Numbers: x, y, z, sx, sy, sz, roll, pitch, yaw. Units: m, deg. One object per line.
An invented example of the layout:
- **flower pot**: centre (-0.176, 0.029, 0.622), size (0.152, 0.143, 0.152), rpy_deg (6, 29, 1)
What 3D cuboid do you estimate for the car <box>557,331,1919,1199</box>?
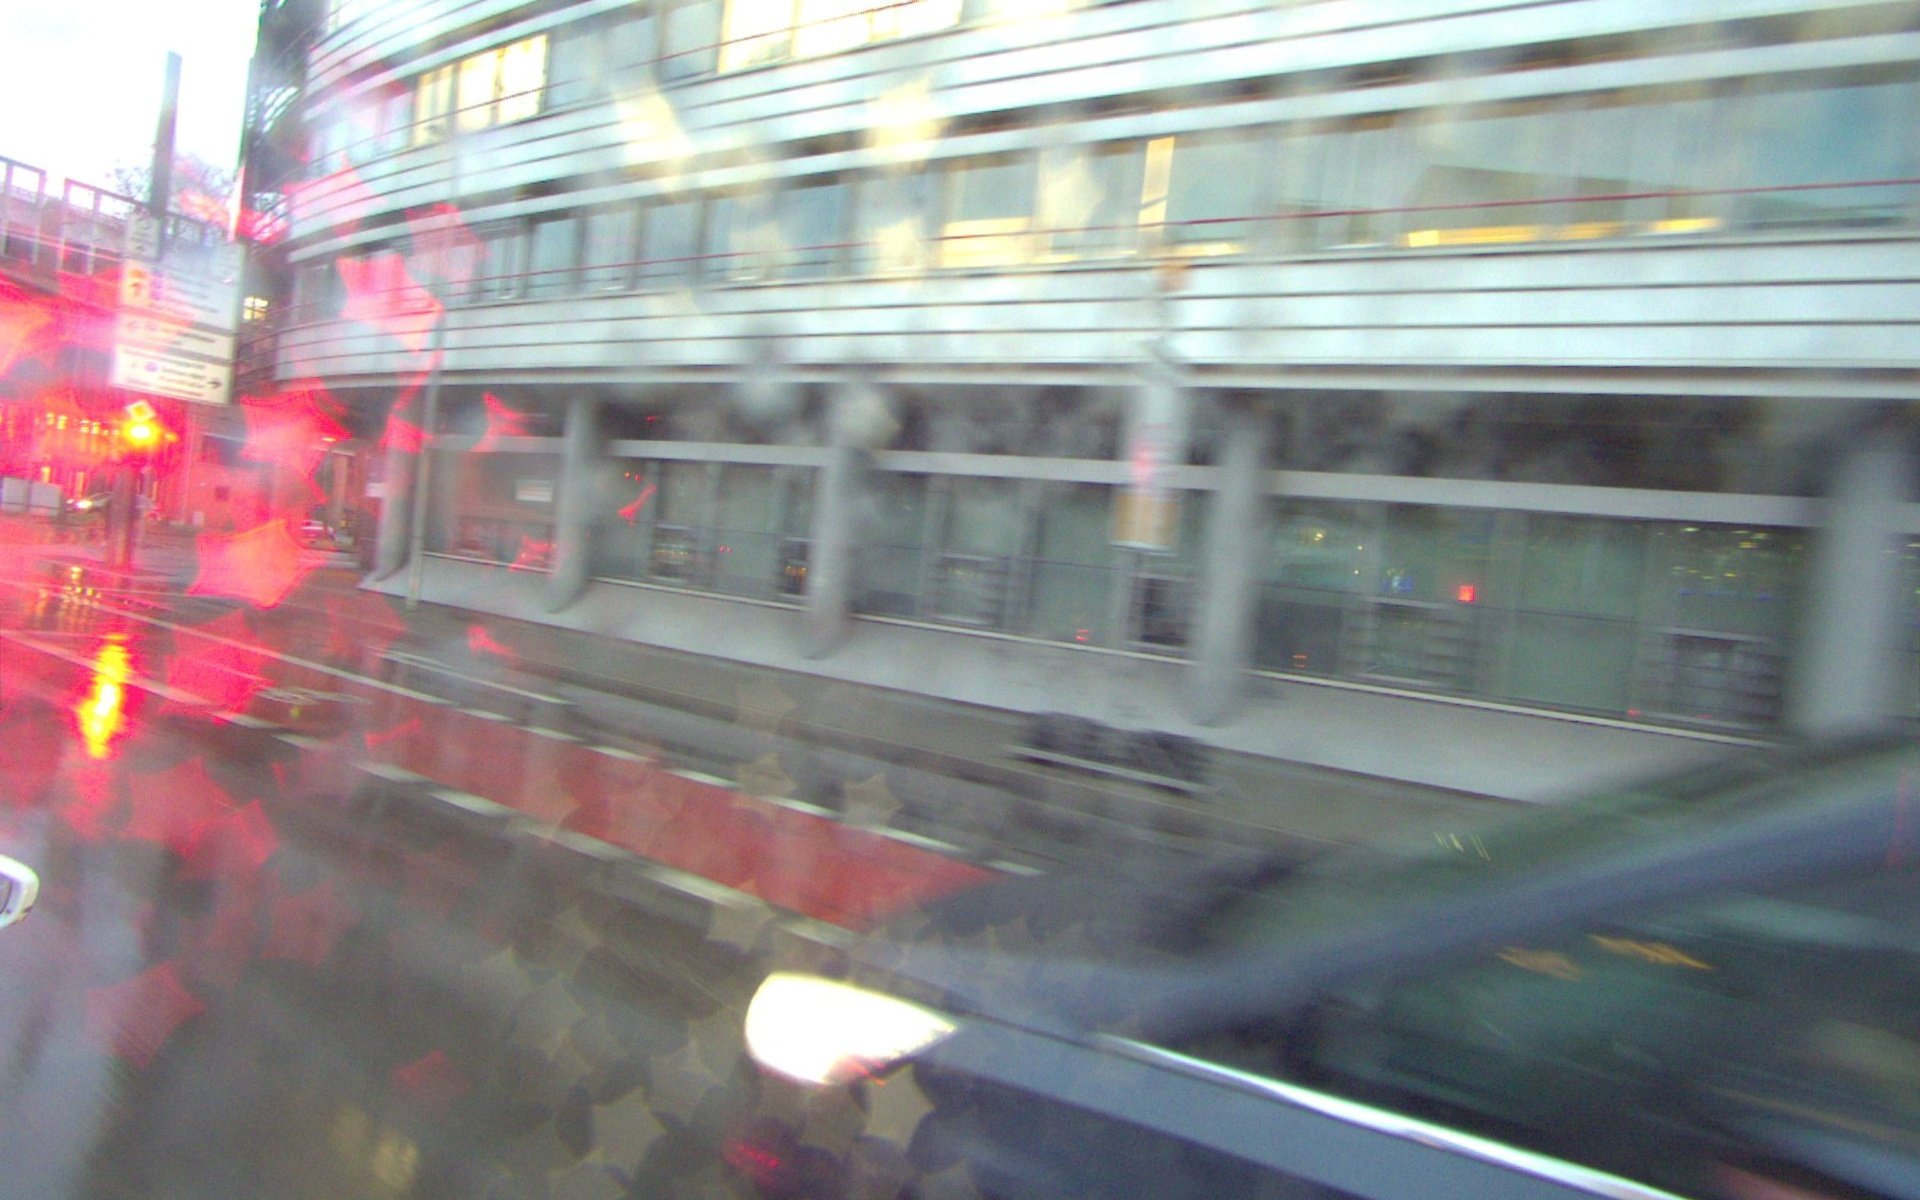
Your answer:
- **car**: centre (1.816, 0.847, 1.281), size (4.593, 1.832, 1.886), rpy_deg (7, -1, 31)
